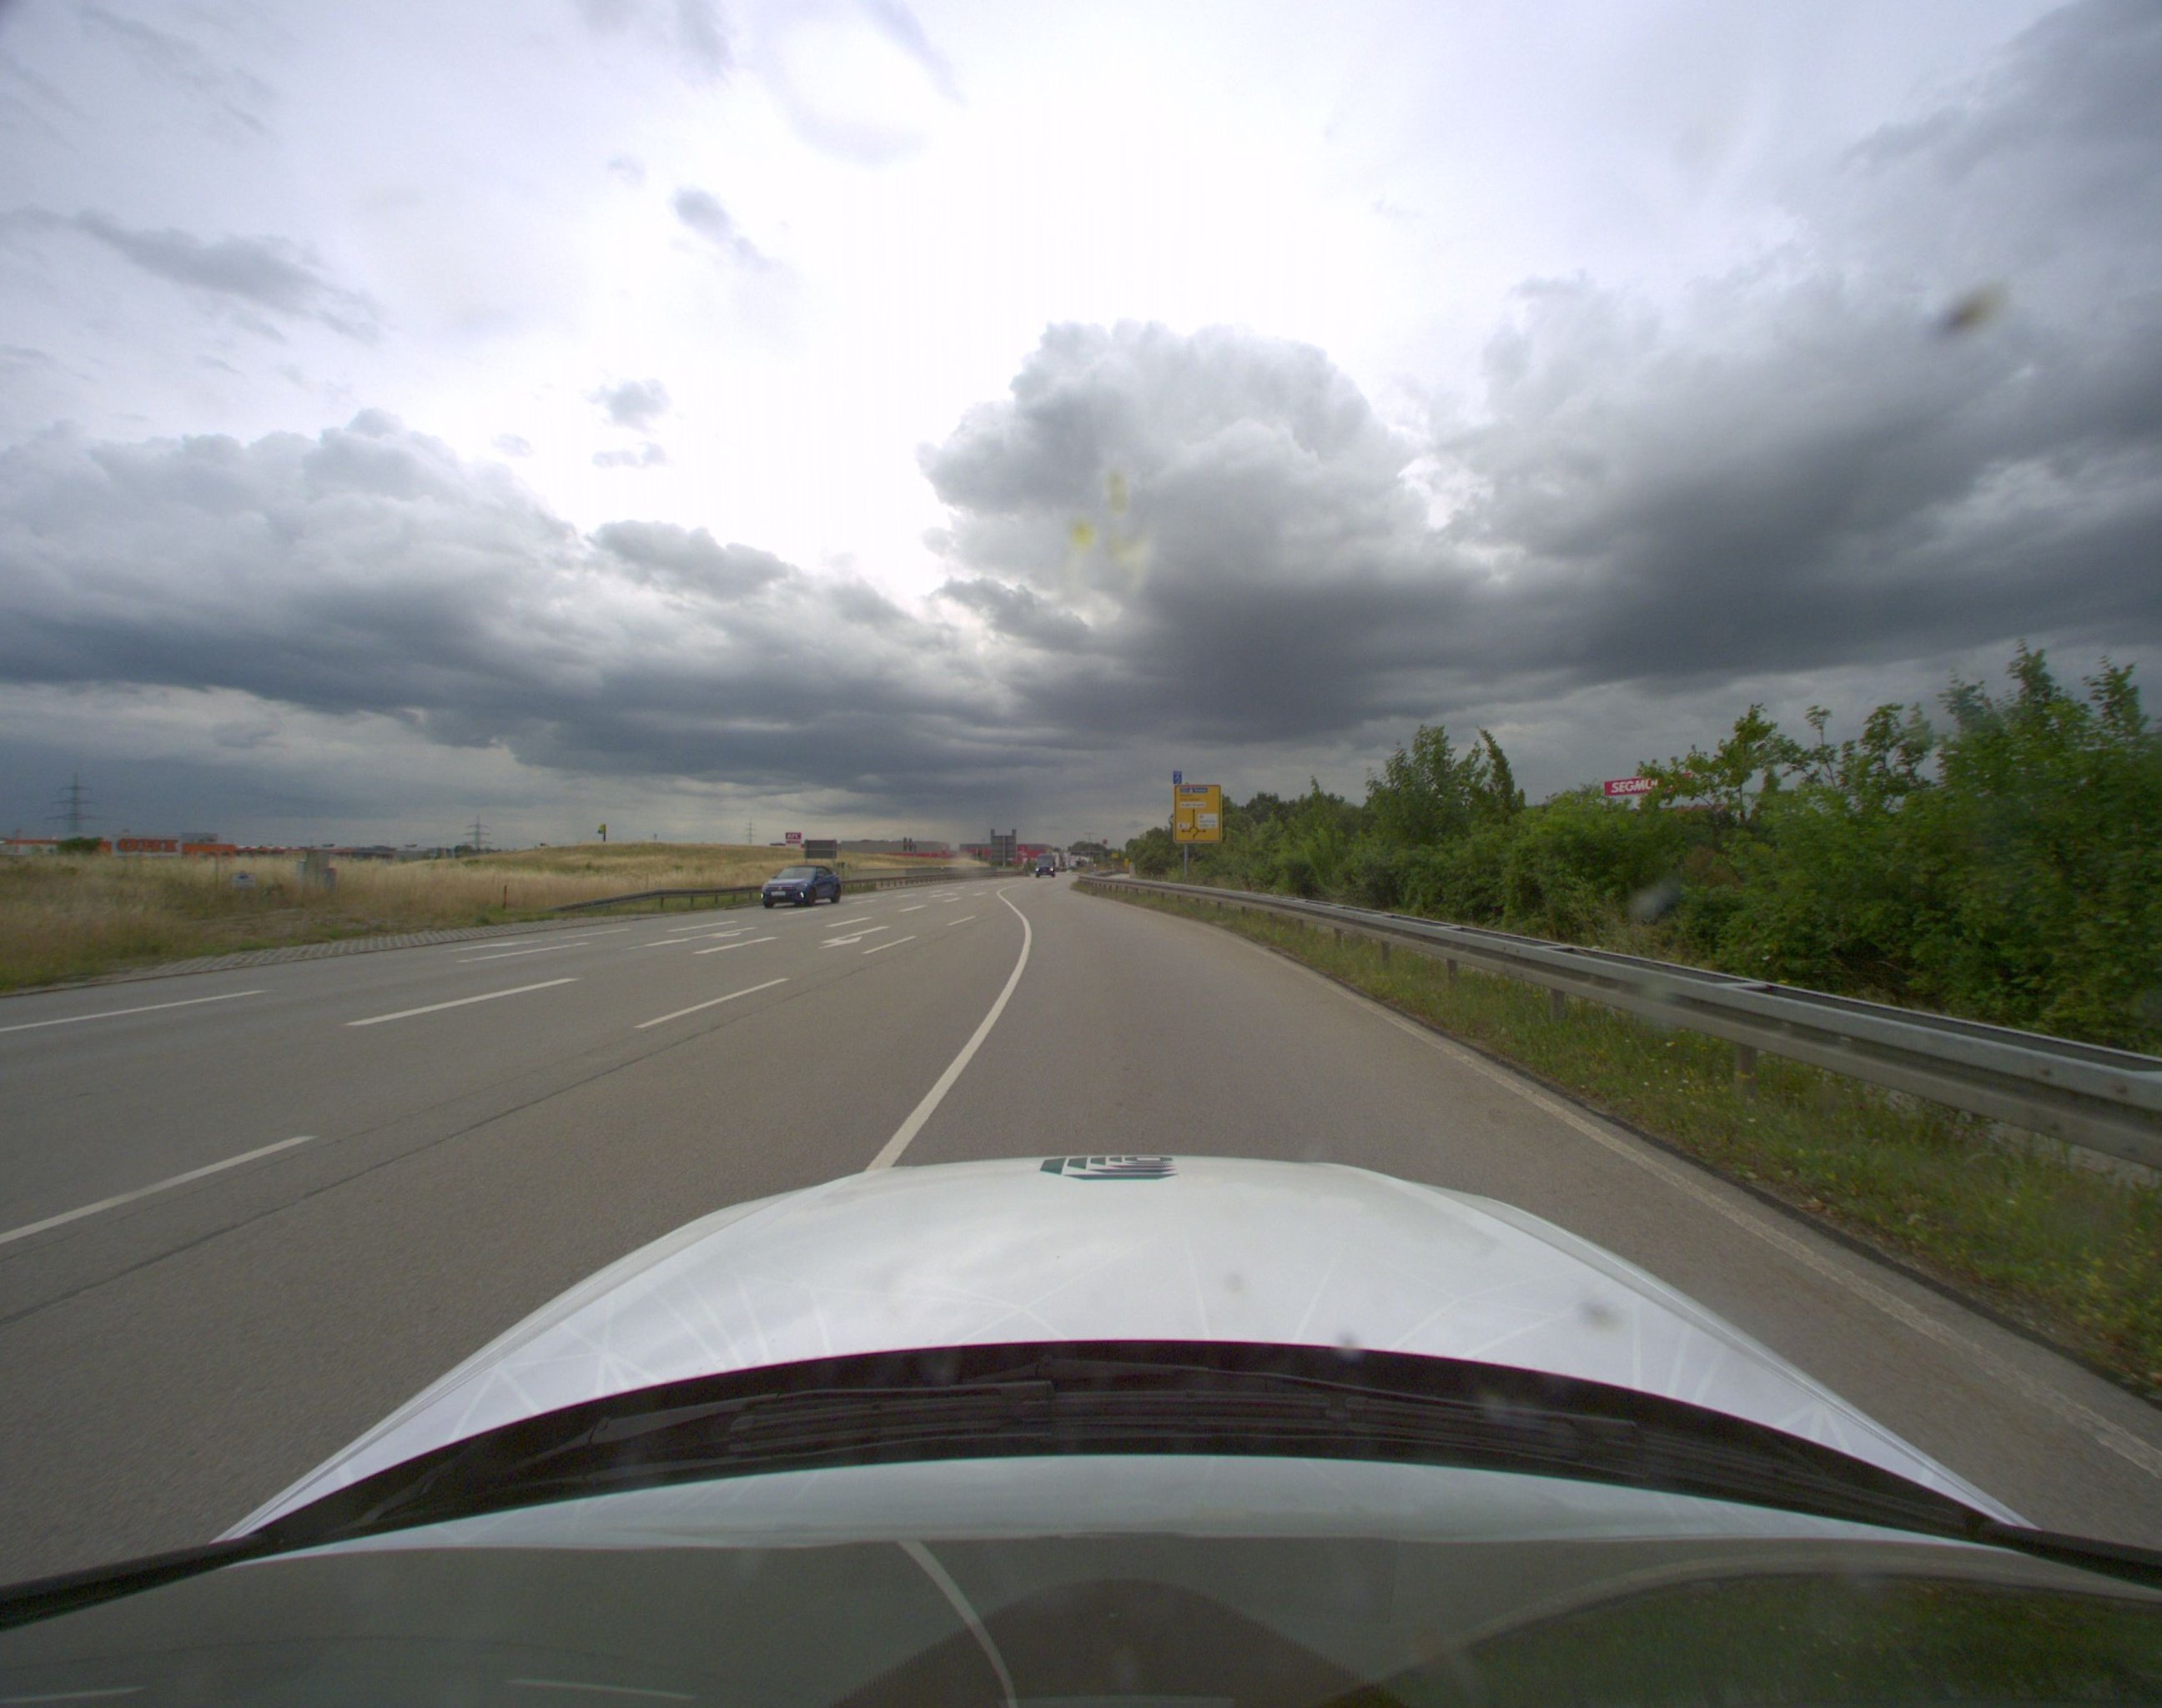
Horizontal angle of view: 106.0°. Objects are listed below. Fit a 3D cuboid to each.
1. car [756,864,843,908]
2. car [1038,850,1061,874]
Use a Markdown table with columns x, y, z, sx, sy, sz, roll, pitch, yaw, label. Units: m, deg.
| x | y | z | sx | sy | sz | roll | pitch | yaw | label |
| --- | --- | --- | --- | --- | --- | --- | --- | --- | --- |
| -10.634 | 1.167 | 31.079 | 1.790 | 1.550 | 4.002 | -1 | -1 | 2 | car |
| -3.431 | 0.904 | 89.718 | 1.985 | 2.592 | 6.007 | -1 | -1 | 3 | car |
